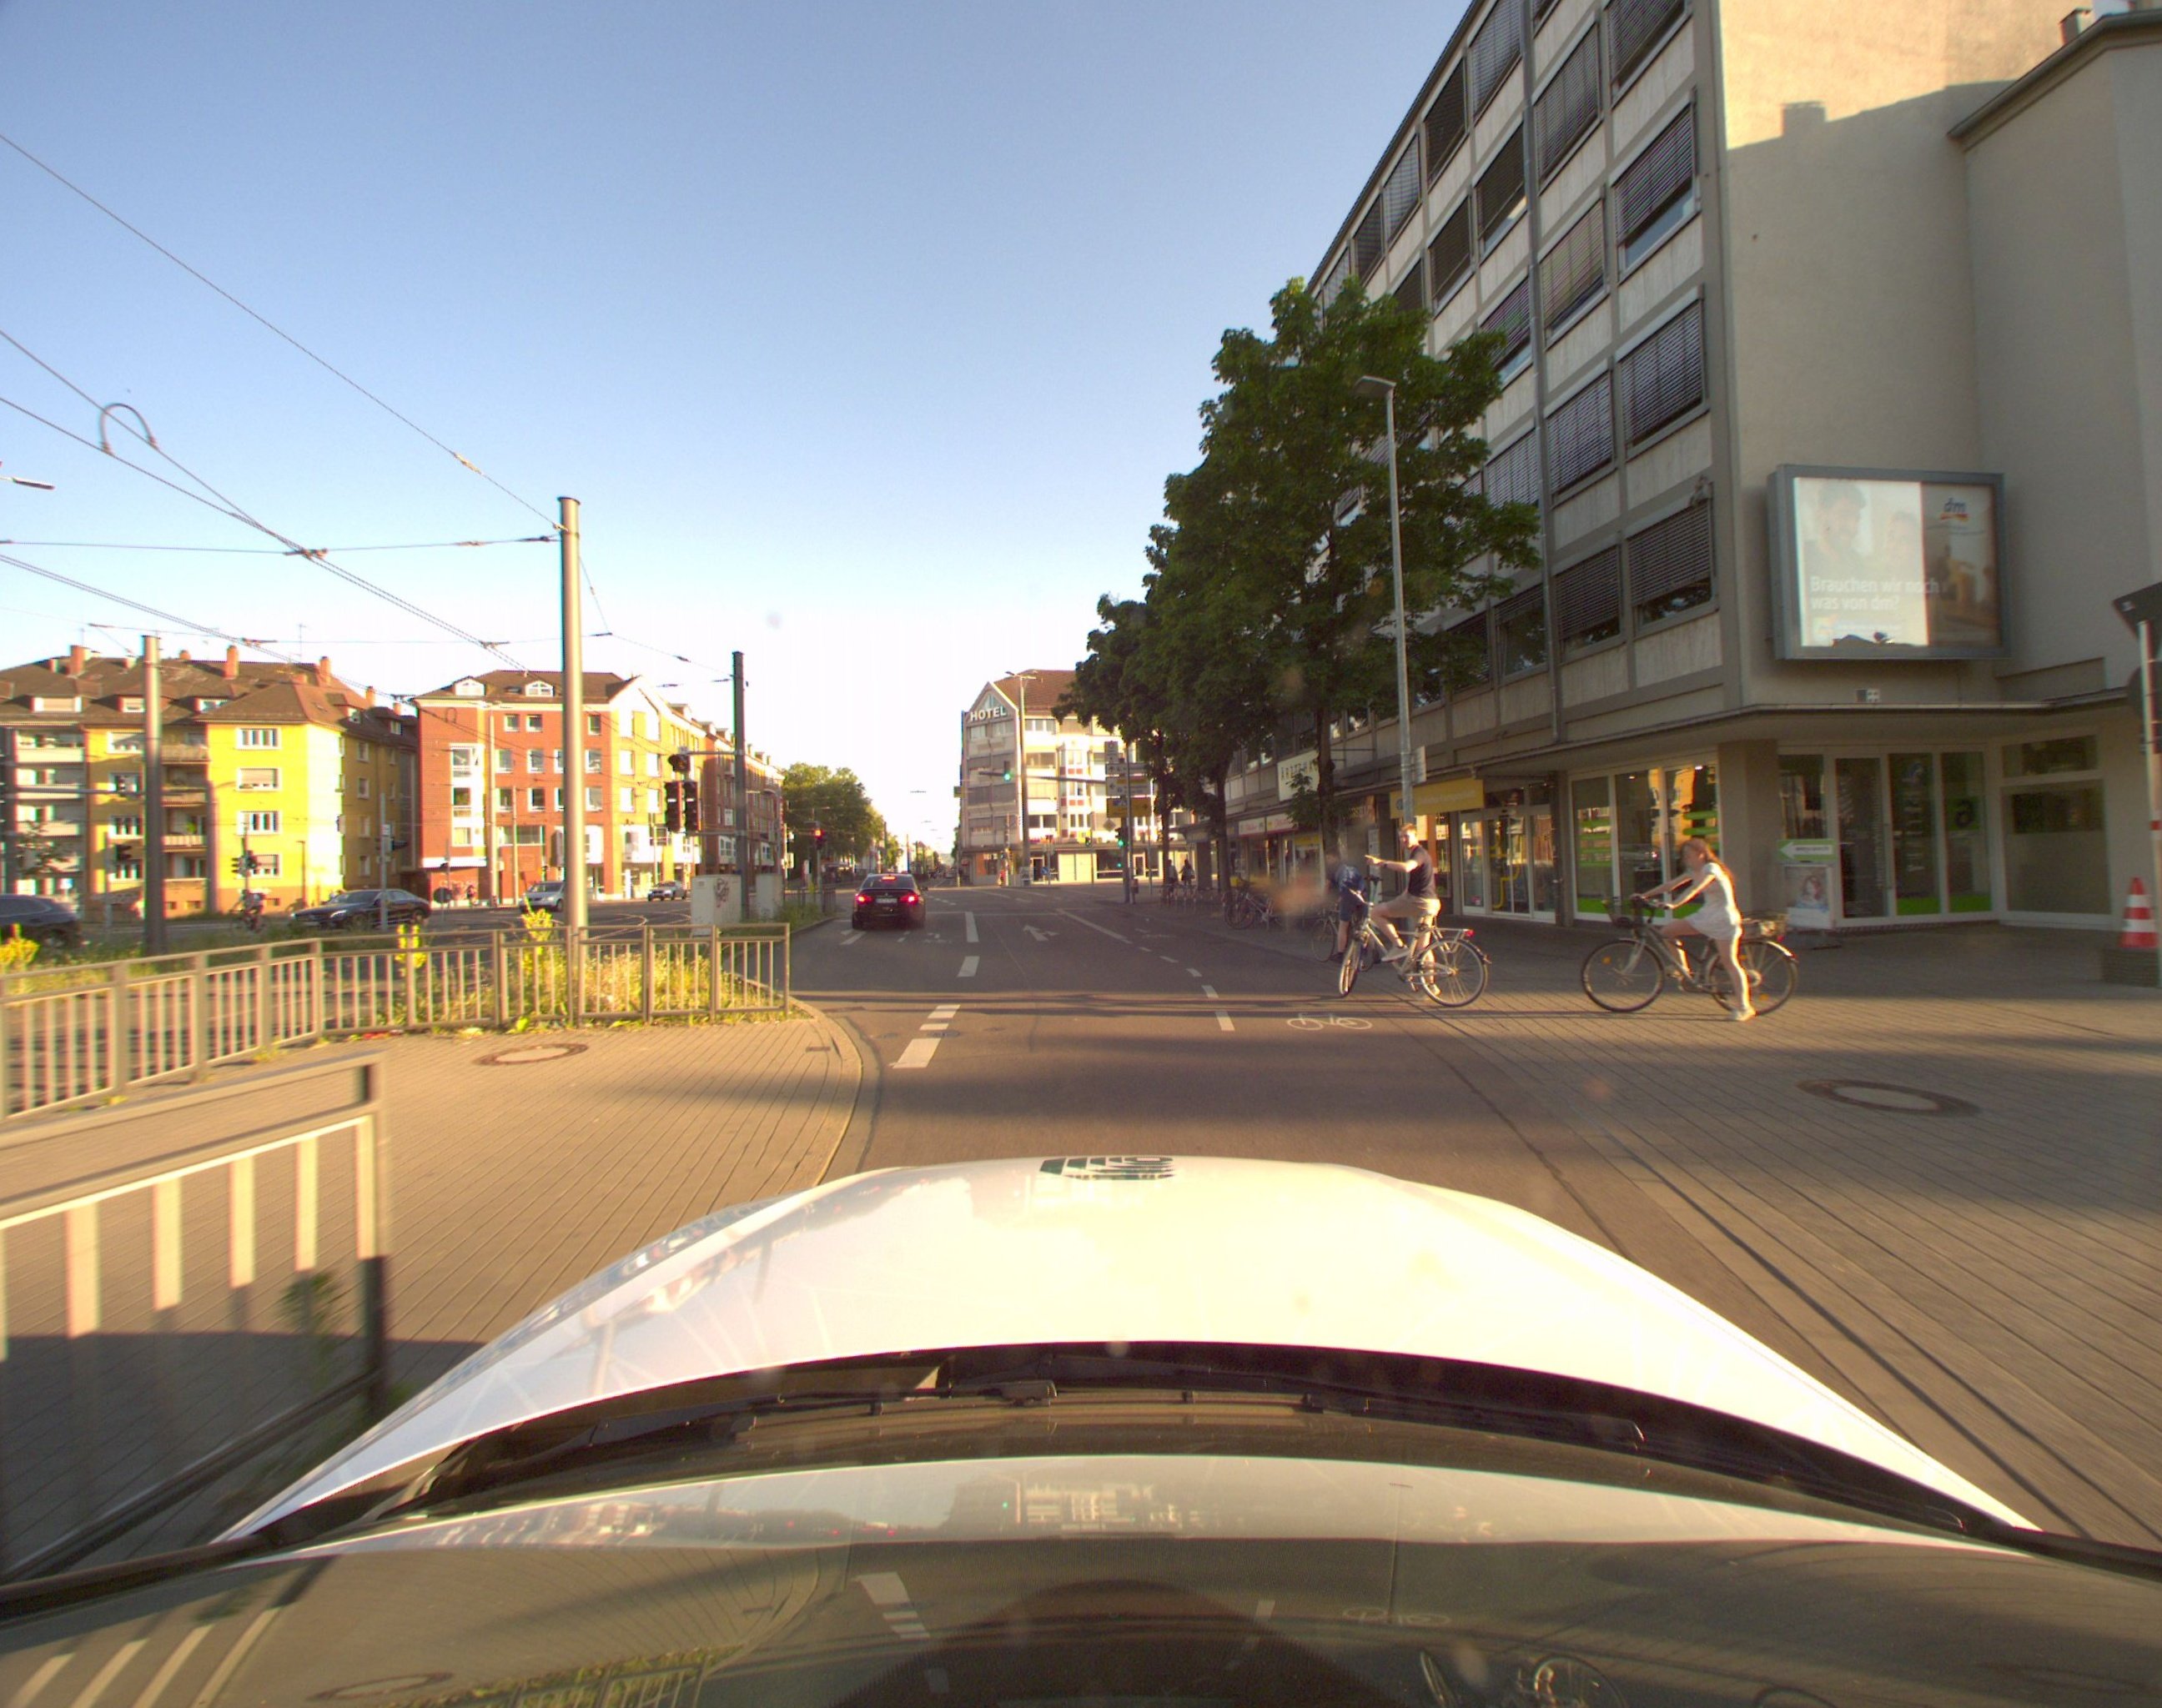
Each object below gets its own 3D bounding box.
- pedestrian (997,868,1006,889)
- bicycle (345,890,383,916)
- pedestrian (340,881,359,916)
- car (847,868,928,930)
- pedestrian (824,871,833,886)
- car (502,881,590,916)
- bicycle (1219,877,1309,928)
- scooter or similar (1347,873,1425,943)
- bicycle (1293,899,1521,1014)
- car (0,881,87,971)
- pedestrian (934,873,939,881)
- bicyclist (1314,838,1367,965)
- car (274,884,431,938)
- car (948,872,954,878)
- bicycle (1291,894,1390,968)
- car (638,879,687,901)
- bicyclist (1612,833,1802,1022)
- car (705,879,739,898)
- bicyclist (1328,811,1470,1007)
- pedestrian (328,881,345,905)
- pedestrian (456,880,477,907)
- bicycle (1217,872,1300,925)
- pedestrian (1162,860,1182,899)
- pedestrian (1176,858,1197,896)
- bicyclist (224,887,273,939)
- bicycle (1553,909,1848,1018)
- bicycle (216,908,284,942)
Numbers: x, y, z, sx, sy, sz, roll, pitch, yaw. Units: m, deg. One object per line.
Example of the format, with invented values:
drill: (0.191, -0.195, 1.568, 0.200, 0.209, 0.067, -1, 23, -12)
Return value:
pedestrian: (-7.006, 2.144, 71.841, 0.685, 1.854, 0.668, -2, -1, -13)
bicycle: (-38.269, 2.598, 43.482, 0.618, 1.325, 2.006, 0, -1, -13)
pedestrian: (-38.798, 2.348, 43.187, 0.503, 1.868, 0.560, 0, -2, -14)
car: (-5.320, 1.187, 22.775, 1.994, 1.585, 3.984, 1, -1, -11)
pedestrian: (-33.543, 3.302, 108.257, 0.988, 2.014, 0.723, 0, -2, -11)
car: (-27.587, 2.252, 42.177, 1.990, 1.585, 4.106, -2, -1, -4)
bicycle: (4.317, 1.136, 19.304, 1.988, 1.110, 0.669, -2, -1, 3)
scooter or similar: (5.621, 0.989, 15.035, 1.261, 1.235, 0.340, -2, -1, 33)
bicycle: (3.413, 1.019, 8.667, 2.051, 1.020, 0.845, -3, -1, 44)
car: (-23.818, 1.557, 16.518, 1.995, 1.901, 4.792, -2, -1, -11)
pedestrian: (-34.149, 5.408, 192.413, 0.914, 2.014, 0.884, -2, -1, -10)
bicyclist: (3.859, 0.688, 12.129, 0.465, 1.830, 0.556, -2, -1, -17)
car: (-25.093, 1.897, 28.320, 1.995, 1.585, 4.568, -2, -1, -11)
car: (-33.497, 5.423, 210.473, 1.473, 1.515, 3.085, -2, -1, -10)
bicycle: (3.848, 1.111, 12.232, 0.465, 0.970, 1.790, -2, -1, -17)
car: (-30.575, 2.596, 59.653, 1.666, 1.448, 4.195, -2, -1, -4)
bicyclist: (5.740, 0.650, 7.552, 1.103, 1.623, 0.844, -2, -1, 14)
car: (-34.143, 3.267, 77.509, 1.995, 1.585, 4.461, -2, -1, -11)
bicyclist: (3.380, 0.548, 8.679, 1.101, 1.917, 0.845, -3, -1, 44)
pedestrian: (-57.242, 3.001, 62.607, 0.810, 1.868, 0.657, 1, -2, -31)
pedestrian: (-43.402, 2.772, 57.521, 0.942, 1.868, 0.833, 0, -2, -18)
bicycle: (4.408, 1.095, 20.284, 1.897, 1.235, 0.668, -2, -1, 1)
pedestrian: (3.962, 1.118, 35.513, 0.683, 1.667, 0.669, -2, -1, -6)
pedestrian: (4.674, 1.017, 36.121, 0.722, 1.667, 0.669, -2, -1, -6)
bicyclist: (-28.422, 2.008, 27.810, 0.661, 1.688, 0.978, -2, -1, -3)
bicycle: (5.641, 0.995, 7.573, 1.991, 0.881, 0.844, -2, -1, 14)
bicycle: (-28.416, 2.420, 27.872, 0.664, 1.008, 1.621, -2, -1, -2)
